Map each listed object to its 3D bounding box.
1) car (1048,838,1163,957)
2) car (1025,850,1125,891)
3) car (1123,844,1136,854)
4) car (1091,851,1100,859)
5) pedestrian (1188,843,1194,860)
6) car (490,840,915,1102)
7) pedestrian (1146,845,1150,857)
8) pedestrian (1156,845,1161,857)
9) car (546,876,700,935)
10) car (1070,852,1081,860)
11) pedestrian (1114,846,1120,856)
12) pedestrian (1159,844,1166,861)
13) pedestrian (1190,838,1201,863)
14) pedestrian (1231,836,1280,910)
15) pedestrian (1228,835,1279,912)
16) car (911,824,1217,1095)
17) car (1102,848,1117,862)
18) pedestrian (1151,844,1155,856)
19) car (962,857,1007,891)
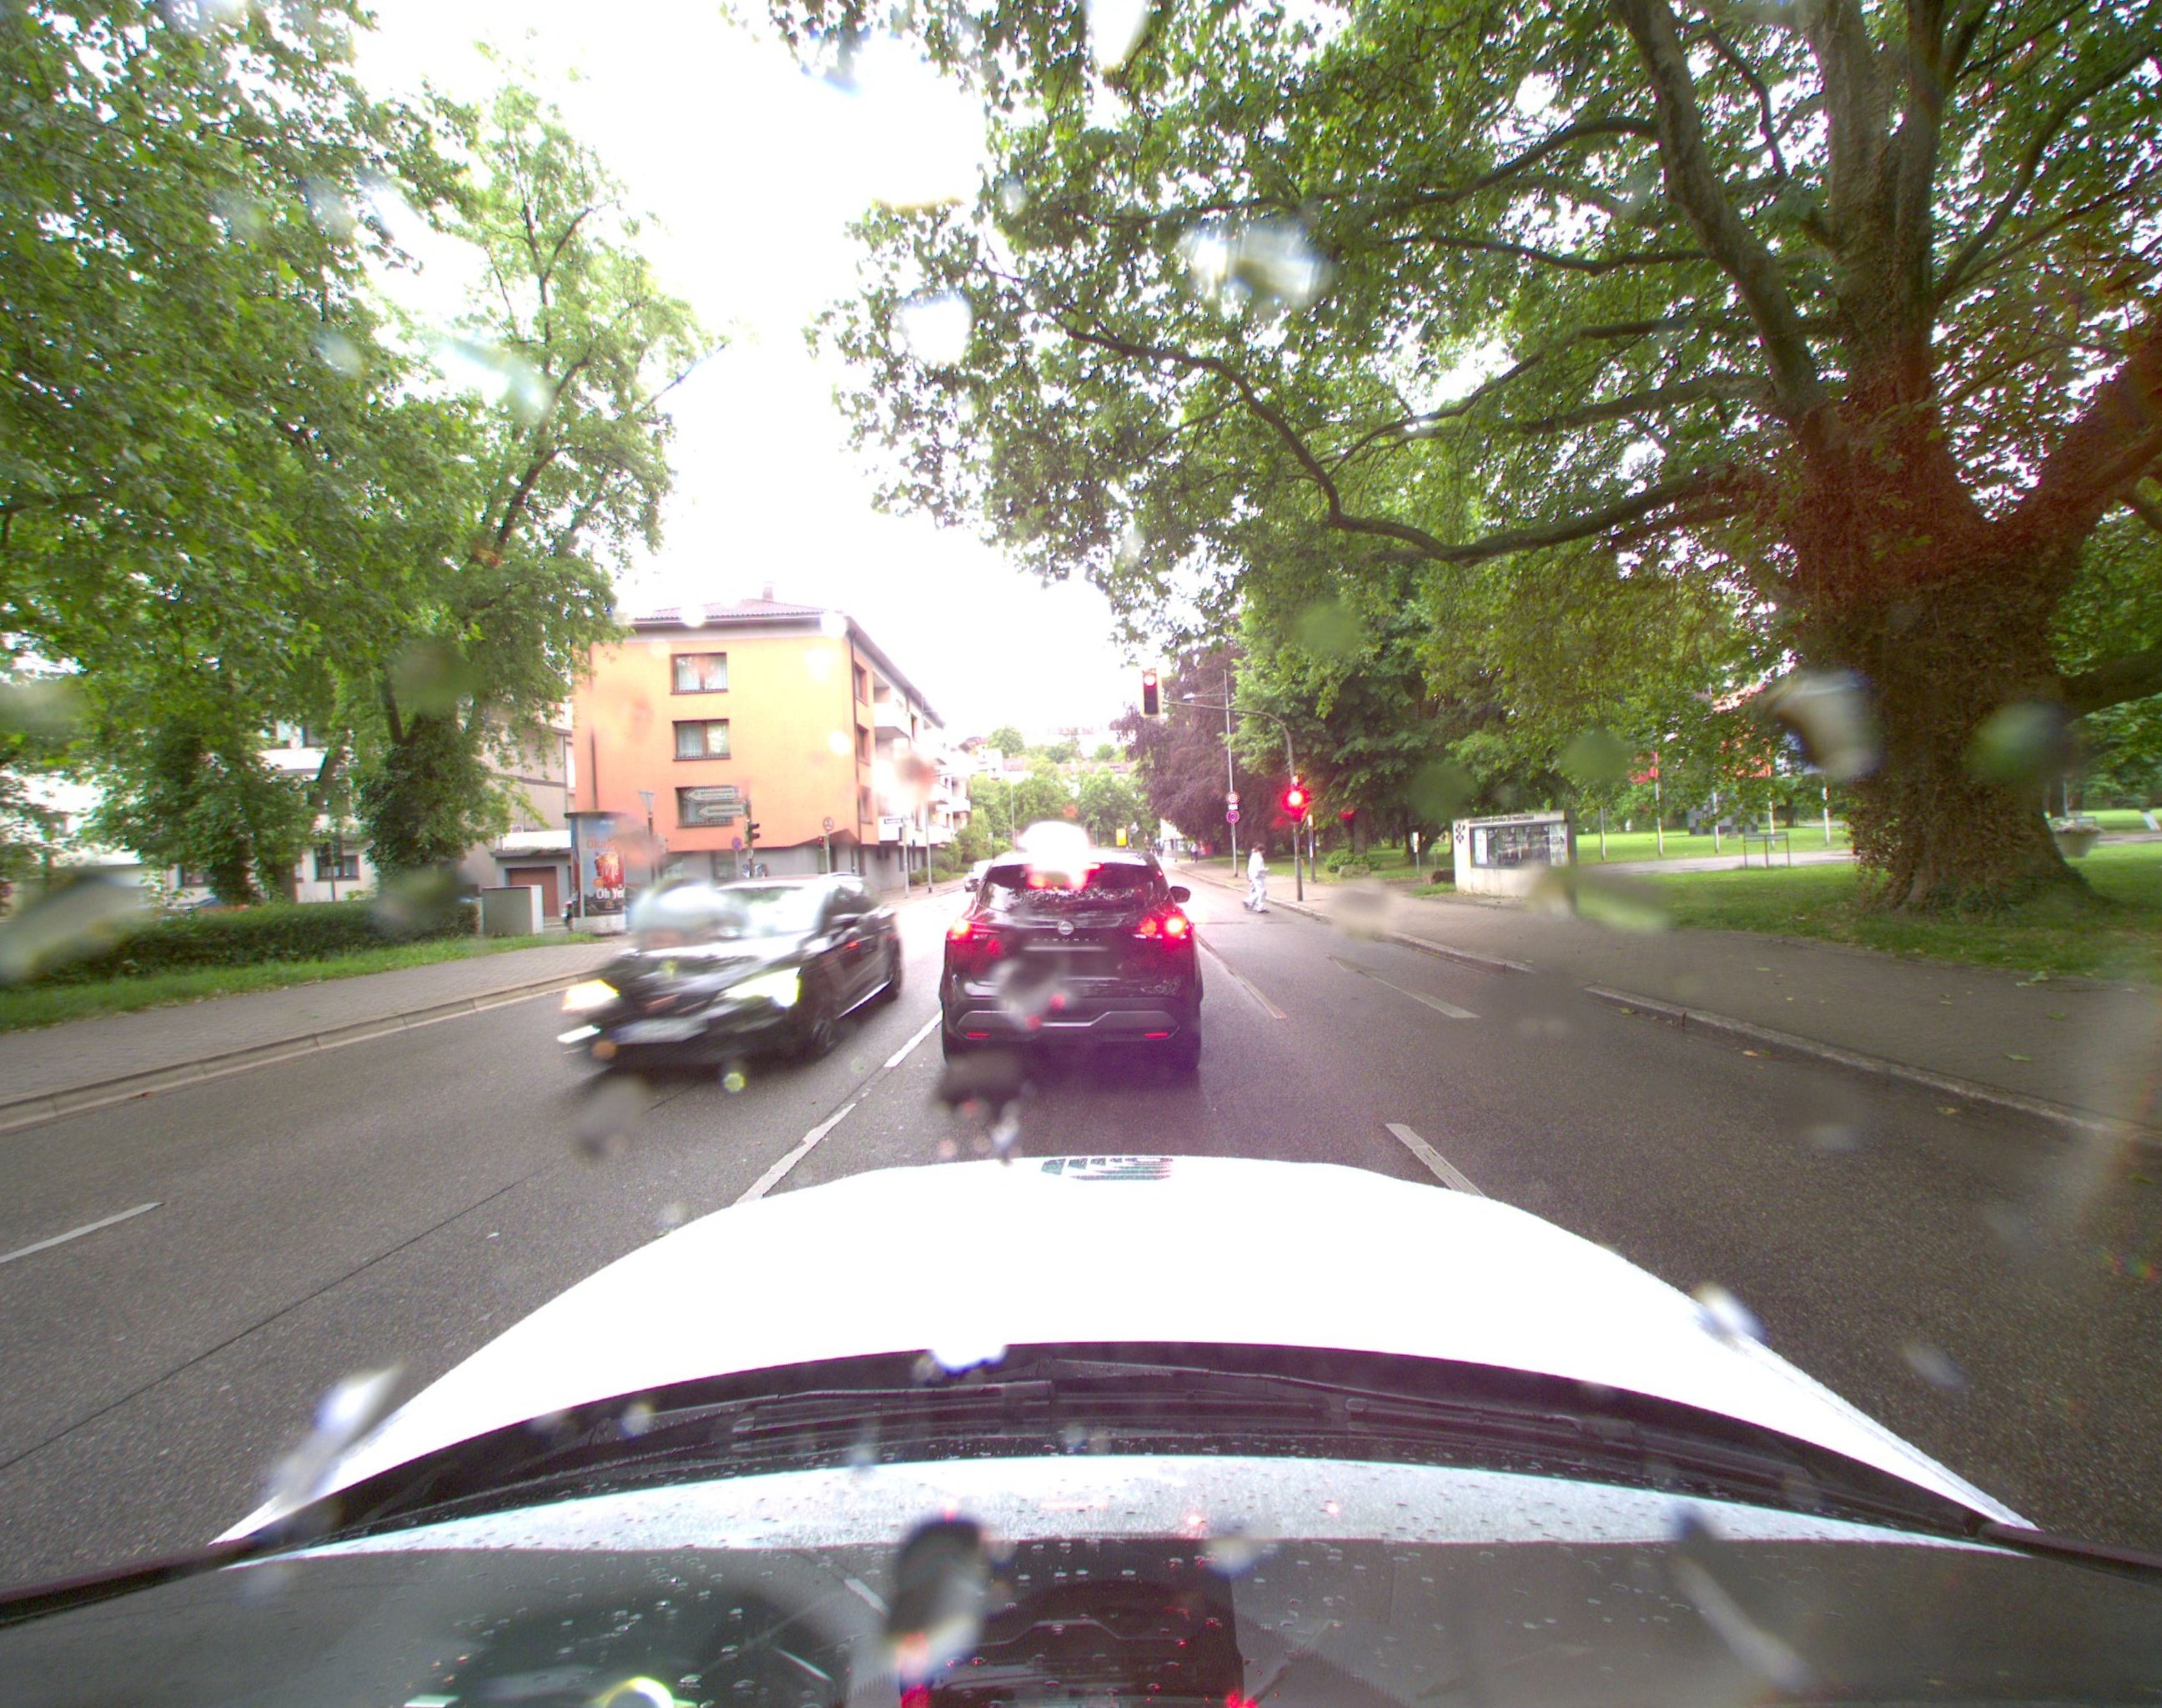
[{"bbox_3d":[0.443,0.672,14.477,1.692,1.745,3.642,-3,0,2],"label":"car"},{"bbox_3d":[-0.164,0.674,34.497,1.808,1.403,4.681,-4,0,35],"label":"car"},{"bbox_3d":[8.631,-0.857,144.058,1.983,1.735,4.007,0,0,7],"label":"car"},{"bbox_3d":[2.731,0.161,155.281,1.628,1.532,3.969,-3,0,2],"label":"car"},{"bbox_3d":[9.845,-0.237,72.650,0.388,1.502,0.559,-3,0,2],"label":"pedestrian"},{"bbox_3d":[-2.931,0.771,7.468,1.839,1.625,4.137,-3,0,0],"label":"car"},{"bbox_3d":[9.982,-0.466,121.400,0.506,1.802,0.620,-3,0,1],"label":"pedestrian"},{"bbox_3d":[11.460,-0.405,120.786,0.507,1.802,0.619,-3,0,0],"label":"pedestrian"},{"bbox_3d":[-14.627,1.631,26.165,3.842,1.533,1.802,-4,0,0],"label":"car"},{"bbox_3d":[-1.115,0.393,160.632,1.963,1.532,3.969,-3,0,2],"label":"car"},{"bbox_3d":[5.975,-0.515,135.262,0.503,1.673,0.663,-3,0,29],"label":"pedestrian"},{"bbox_3d":[9.044,-0.164,90.403,0.614,1.802,0.511,-3,0,7],"label":"pedestrian"},{"bbox_3d":[9.515,-0.321,67.878,0.722,2.013,0.852,-3,0,2],"label":"pedestrian"},{"bbox_3d":[4.563,0.496,21.350,1.035,1.876,0.656,-2,0,-9],"label":"pedestrian"},{"bbox_3d":[4.358,0.493,20.603,1.035,1.876,0.656,-2,0,-9],"label":"pedestrian"},{"bbox_3d":[-0.042,0.664,7.140,1.906,1.680,4.002,-1,0,2],"label":"car"},{"bbox_3d":[3.444,0.141,98.762,1.628,1.532,3.969,-3,0,2],"label":"car"},{"bbox_3d":[10.678,-0.552,120.301,0.506,1.802,0.659,-3,0,4],"label":"pedestrian"},{"bbox_3d":[-4.821,0.955,41.113,1.791,1.533,3.865,-3,0,-2],"label":"car"}]
